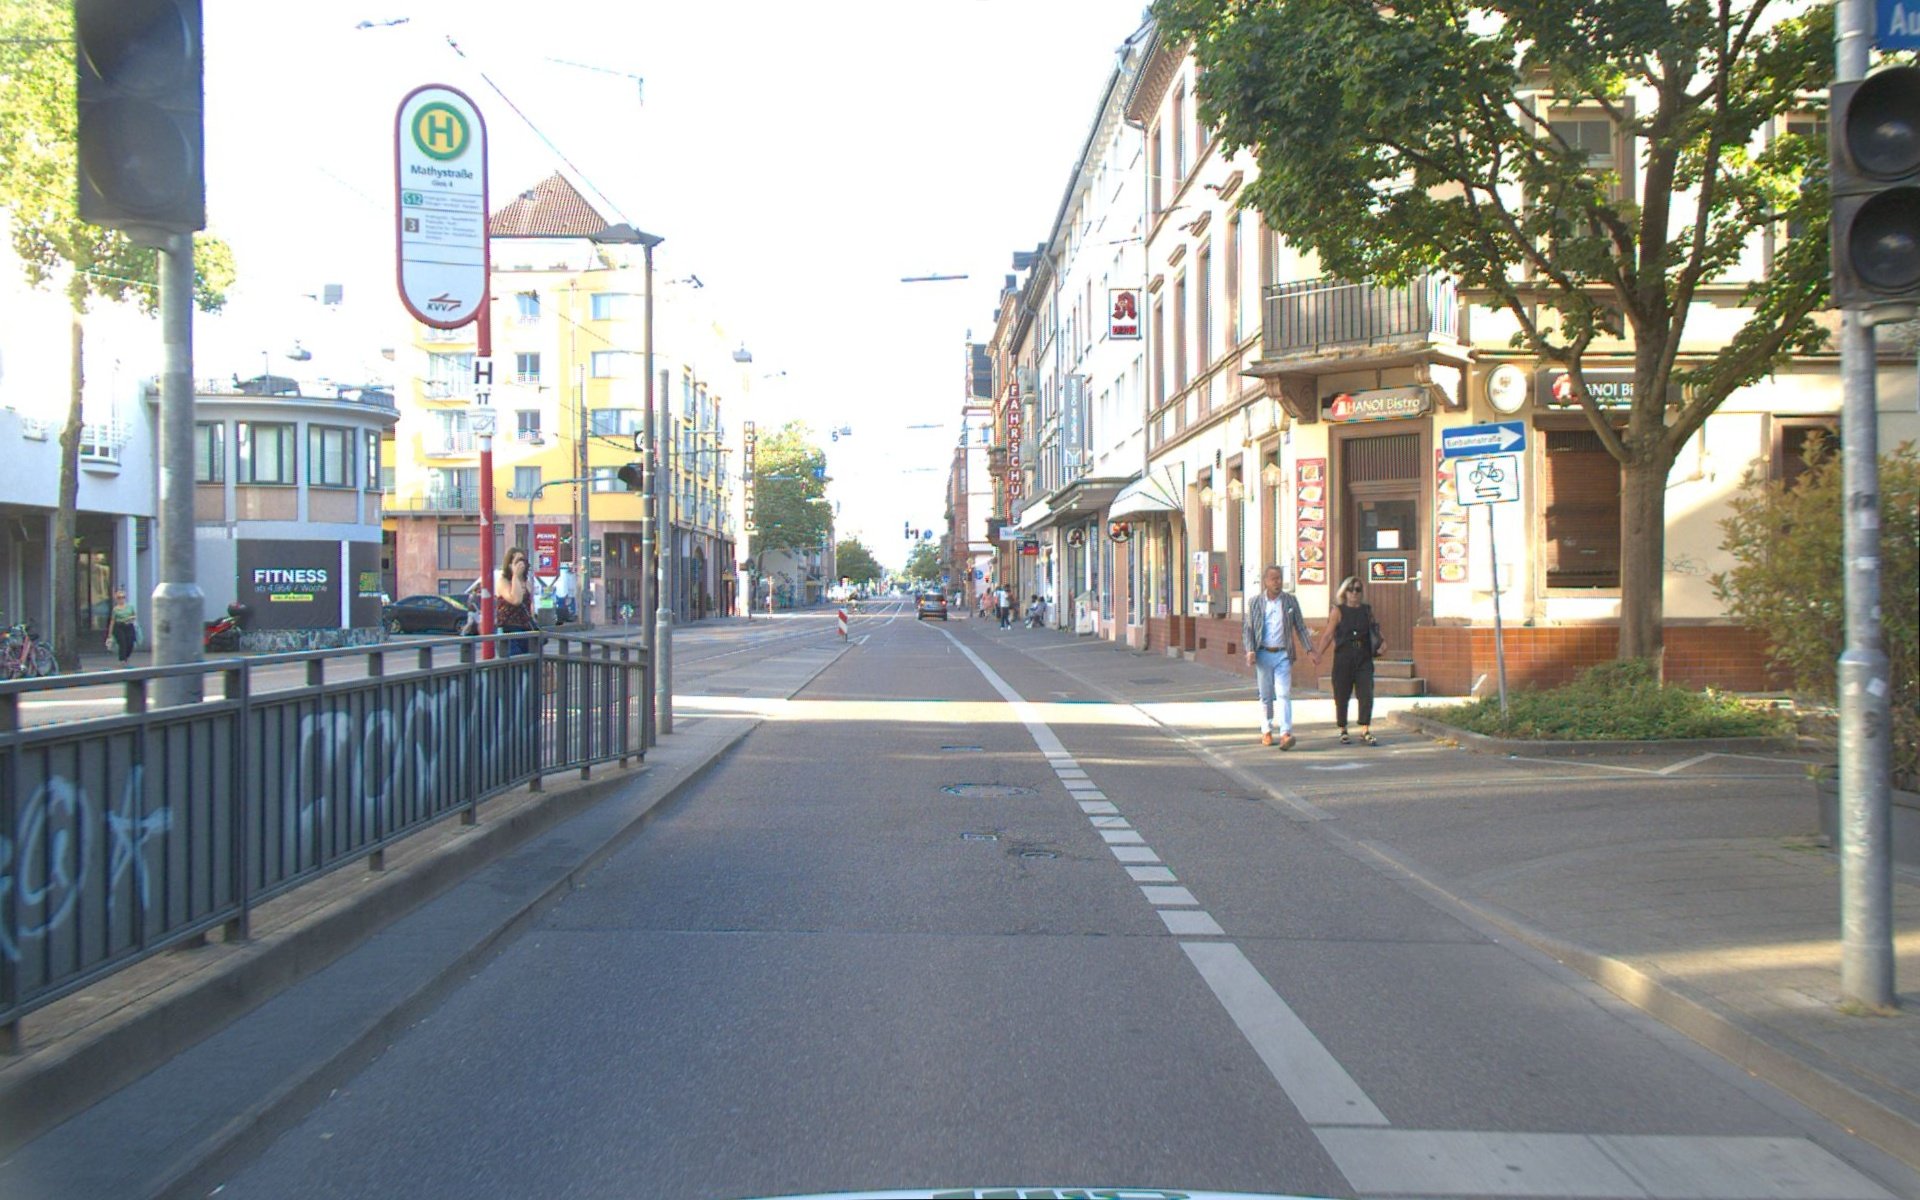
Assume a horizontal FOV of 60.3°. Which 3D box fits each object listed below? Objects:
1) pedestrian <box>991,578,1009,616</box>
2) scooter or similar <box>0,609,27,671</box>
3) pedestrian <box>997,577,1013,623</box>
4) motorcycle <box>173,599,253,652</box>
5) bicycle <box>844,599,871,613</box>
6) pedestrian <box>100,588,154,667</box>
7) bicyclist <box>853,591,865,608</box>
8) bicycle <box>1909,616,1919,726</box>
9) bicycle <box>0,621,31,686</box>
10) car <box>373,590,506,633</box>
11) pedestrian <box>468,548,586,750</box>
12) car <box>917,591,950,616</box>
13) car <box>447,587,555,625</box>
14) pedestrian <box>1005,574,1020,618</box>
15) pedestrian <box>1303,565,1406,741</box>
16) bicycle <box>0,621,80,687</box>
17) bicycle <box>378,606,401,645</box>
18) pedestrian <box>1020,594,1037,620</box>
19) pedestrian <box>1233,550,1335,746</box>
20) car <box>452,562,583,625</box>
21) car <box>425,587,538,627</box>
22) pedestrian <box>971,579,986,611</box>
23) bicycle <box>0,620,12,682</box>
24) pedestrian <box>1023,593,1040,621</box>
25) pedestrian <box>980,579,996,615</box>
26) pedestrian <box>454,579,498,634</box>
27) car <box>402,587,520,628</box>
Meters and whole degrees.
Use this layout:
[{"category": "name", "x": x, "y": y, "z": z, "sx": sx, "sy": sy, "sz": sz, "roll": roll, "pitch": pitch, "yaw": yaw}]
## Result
[{"category": "pedestrian", "x": 2.017, "y": -0.165, "z": 84.457, "sx": 0.831, "sy": 1.951, "sz": 1.034, "roll": 0, "pitch": 0, "yaw": -3}, {"category": "scooter or similar", "x": -19.215, "y": 0.792, "z": 33.004, "sx": 0.488, "sy": 1.214, "sz": 1.272, "roll": 0, "pitch": 0, "yaw": -1}, {"category": "pedestrian", "x": 1.810, "y": -0.015, "z": 66.446, "sx": 0.635, "sy": 1.828, "sz": 0.562, "roll": 0, "pitch": 0, "yaw": 2}, {"category": "motorcycle", "x": -19.502, "y": 0.664, "z": 43.215, "sx": 1.760, "sy": 1.320, "sz": 0.605, "roll": 2, "pitch": 0, "yaw": -8}, {"category": "bicycle", "x": -7.838, "y": 0.430, "z": 126.416, "sx": 1.893, "sy": 1.021, "sz": 0.754, "roll": -1, "pitch": 1, "yaw": 16}, {"category": "pedestrian", "x": -18.397, "y": 0.600, "z": 36.541, "sx": 1.001, "sy": 1.690, "sz": 0.913, "roll": 2, "pitch": 0, "yaw": -27}, {"category": "bicyclist", "x": -7.744, "y": -0.031, "z": 126.380, "sx": 0.695, "sy": 1.242, "sz": 0.754, "roll": -1, "pitch": 0, "yaw": 16}, {"category": "bicycle", "x": 9.790, "y": 0.675, "z": 15.692, "sx": 1.293, "sy": 1.032, "sz": 0.459, "roll": 0, "pitch": 2, "yaw": 18}, {"category": "bicycle", "x": -17.648, "y": 0.978, "z": 30.083, "sx": 0.488, "sy": 1.127, "sz": 1.800, "roll": 2, "pitch": 1, "yaw": -1}, {"category": "car", "x": -18.804, "y": 0.411, "z": 59.910, "sx": 4.232, "sy": 1.536, "sz": 1.800, "roll": 0, "pitch": 0, "yaw": -1}, {"category": "pedestrian", "x": -3.880, "y": 0.422, "z": 14.870, "sx": 0.852, "sy": 1.744, "sz": 0.787, "roll": 2, "pitch": 1, "yaw": -4}, {"category": "car", "x": -1.658, "y": 0.183, "z": 101.322, "sx": 1.953, "sy": 1.474, "sz": 3.999, "roll": 0, "pitch": 0, "yaw": -2}, {"category": "car", "x": -18.765, "y": 0.236, "z": 67.729, "sx": 3.906, "sy": 1.536, "sz": 1.800, "roll": 0, "pitch": 0, "yaw": -1}, {"category": "pedestrian", "x": 2.193, "y": -0.179, "z": 69.212, "sx": 0.548, "sy": 1.828, "sz": 0.651, "roll": 0, "pitch": 0, "yaw": 5}, {"category": "pedestrian", "x": 3.837, "y": 0.496, "z": 16.120, "sx": 0.699, "sy": 1.630, "sz": 0.772, "roll": -3, "pitch": 1, "yaw": -5}, {"category": "bicycle", "x": -17.213, "y": 0.988, "z": 30.967, "sx": 0.488, "sy": 1.127, "sz": 1.800, "roll": 2, "pitch": 1, "yaw": -1}, {"category": "bicycle", "x": -17.128, "y": 0.756, "z": 49.693, "sx": 0.490, "sy": 1.127, "sz": 1.794, "roll": 0, "pitch": 0, "yaw": -14}, {"category": "pedestrian", "x": 2.749, "y": 0.275, "z": 66.113, "sx": 0.676, "sy": 1.061, "sz": 0.681, "roll": 0, "pitch": 0, "yaw": 2}, {"category": "pedestrian", "x": 3.106, "y": 0.441, "z": 15.923, "sx": 0.699, "sy": 1.805, "sz": 0.772, "roll": -3, "pitch": 1, "yaw": -5}, {"category": "car", "x": -18.766, "y": -0.289, "z": 70.307, "sx": 5.002, "sy": 2.621, "sz": 2.128, "roll": 0, "pitch": 0, "yaw": -1}, {"category": "car", "x": -18.830, "y": 0.252, "z": 65.195, "sx": 3.906, "sy": 1.536, "sz": 1.800, "roll": 0, "pitch": 0, "yaw": -1}, {"category": "pedestrian", "x": 1.119, "y": -0.303, "z": 100.375, "sx": 0.826, "sy": 1.951, "sz": 0.846, "roll": 0, "pitch": 0, "yaw": -3}, {"category": "bicycle", "x": -18.070, "y": 0.960, "z": 30.182, "sx": 0.488, "sy": 1.127, "sz": 1.800, "roll": 2, "pitch": 1, "yaw": -1}, {"category": "pedestrian", "x": 2.838, "y": 0.275, "z": 65.376, "sx": 0.676, "sy": 1.061, "sz": 0.681, "roll": 0, "pitch": 0, "yaw": 2}, {"category": "pedestrian", "x": 1.502, "y": -0.161, "z": 89.064, "sx": 0.826, "sy": 1.951, "sz": 0.661, "roll": 0, "pitch": 0, "yaw": -4}, {"category": "pedestrian", "x": -16.598, "y": 0.217, "z": 56.728, "sx": 0.895, "sy": 1.846, "sz": 1.145, "roll": 0, "pitch": 0, "yaw": 43}, {"category": "car", "x": -18.864, "y": 0.267, "z": 62.612, "sx": 3.906, "sy": 1.536, "sz": 1.800, "roll": 0, "pitch": 0, "yaw": -1}]
